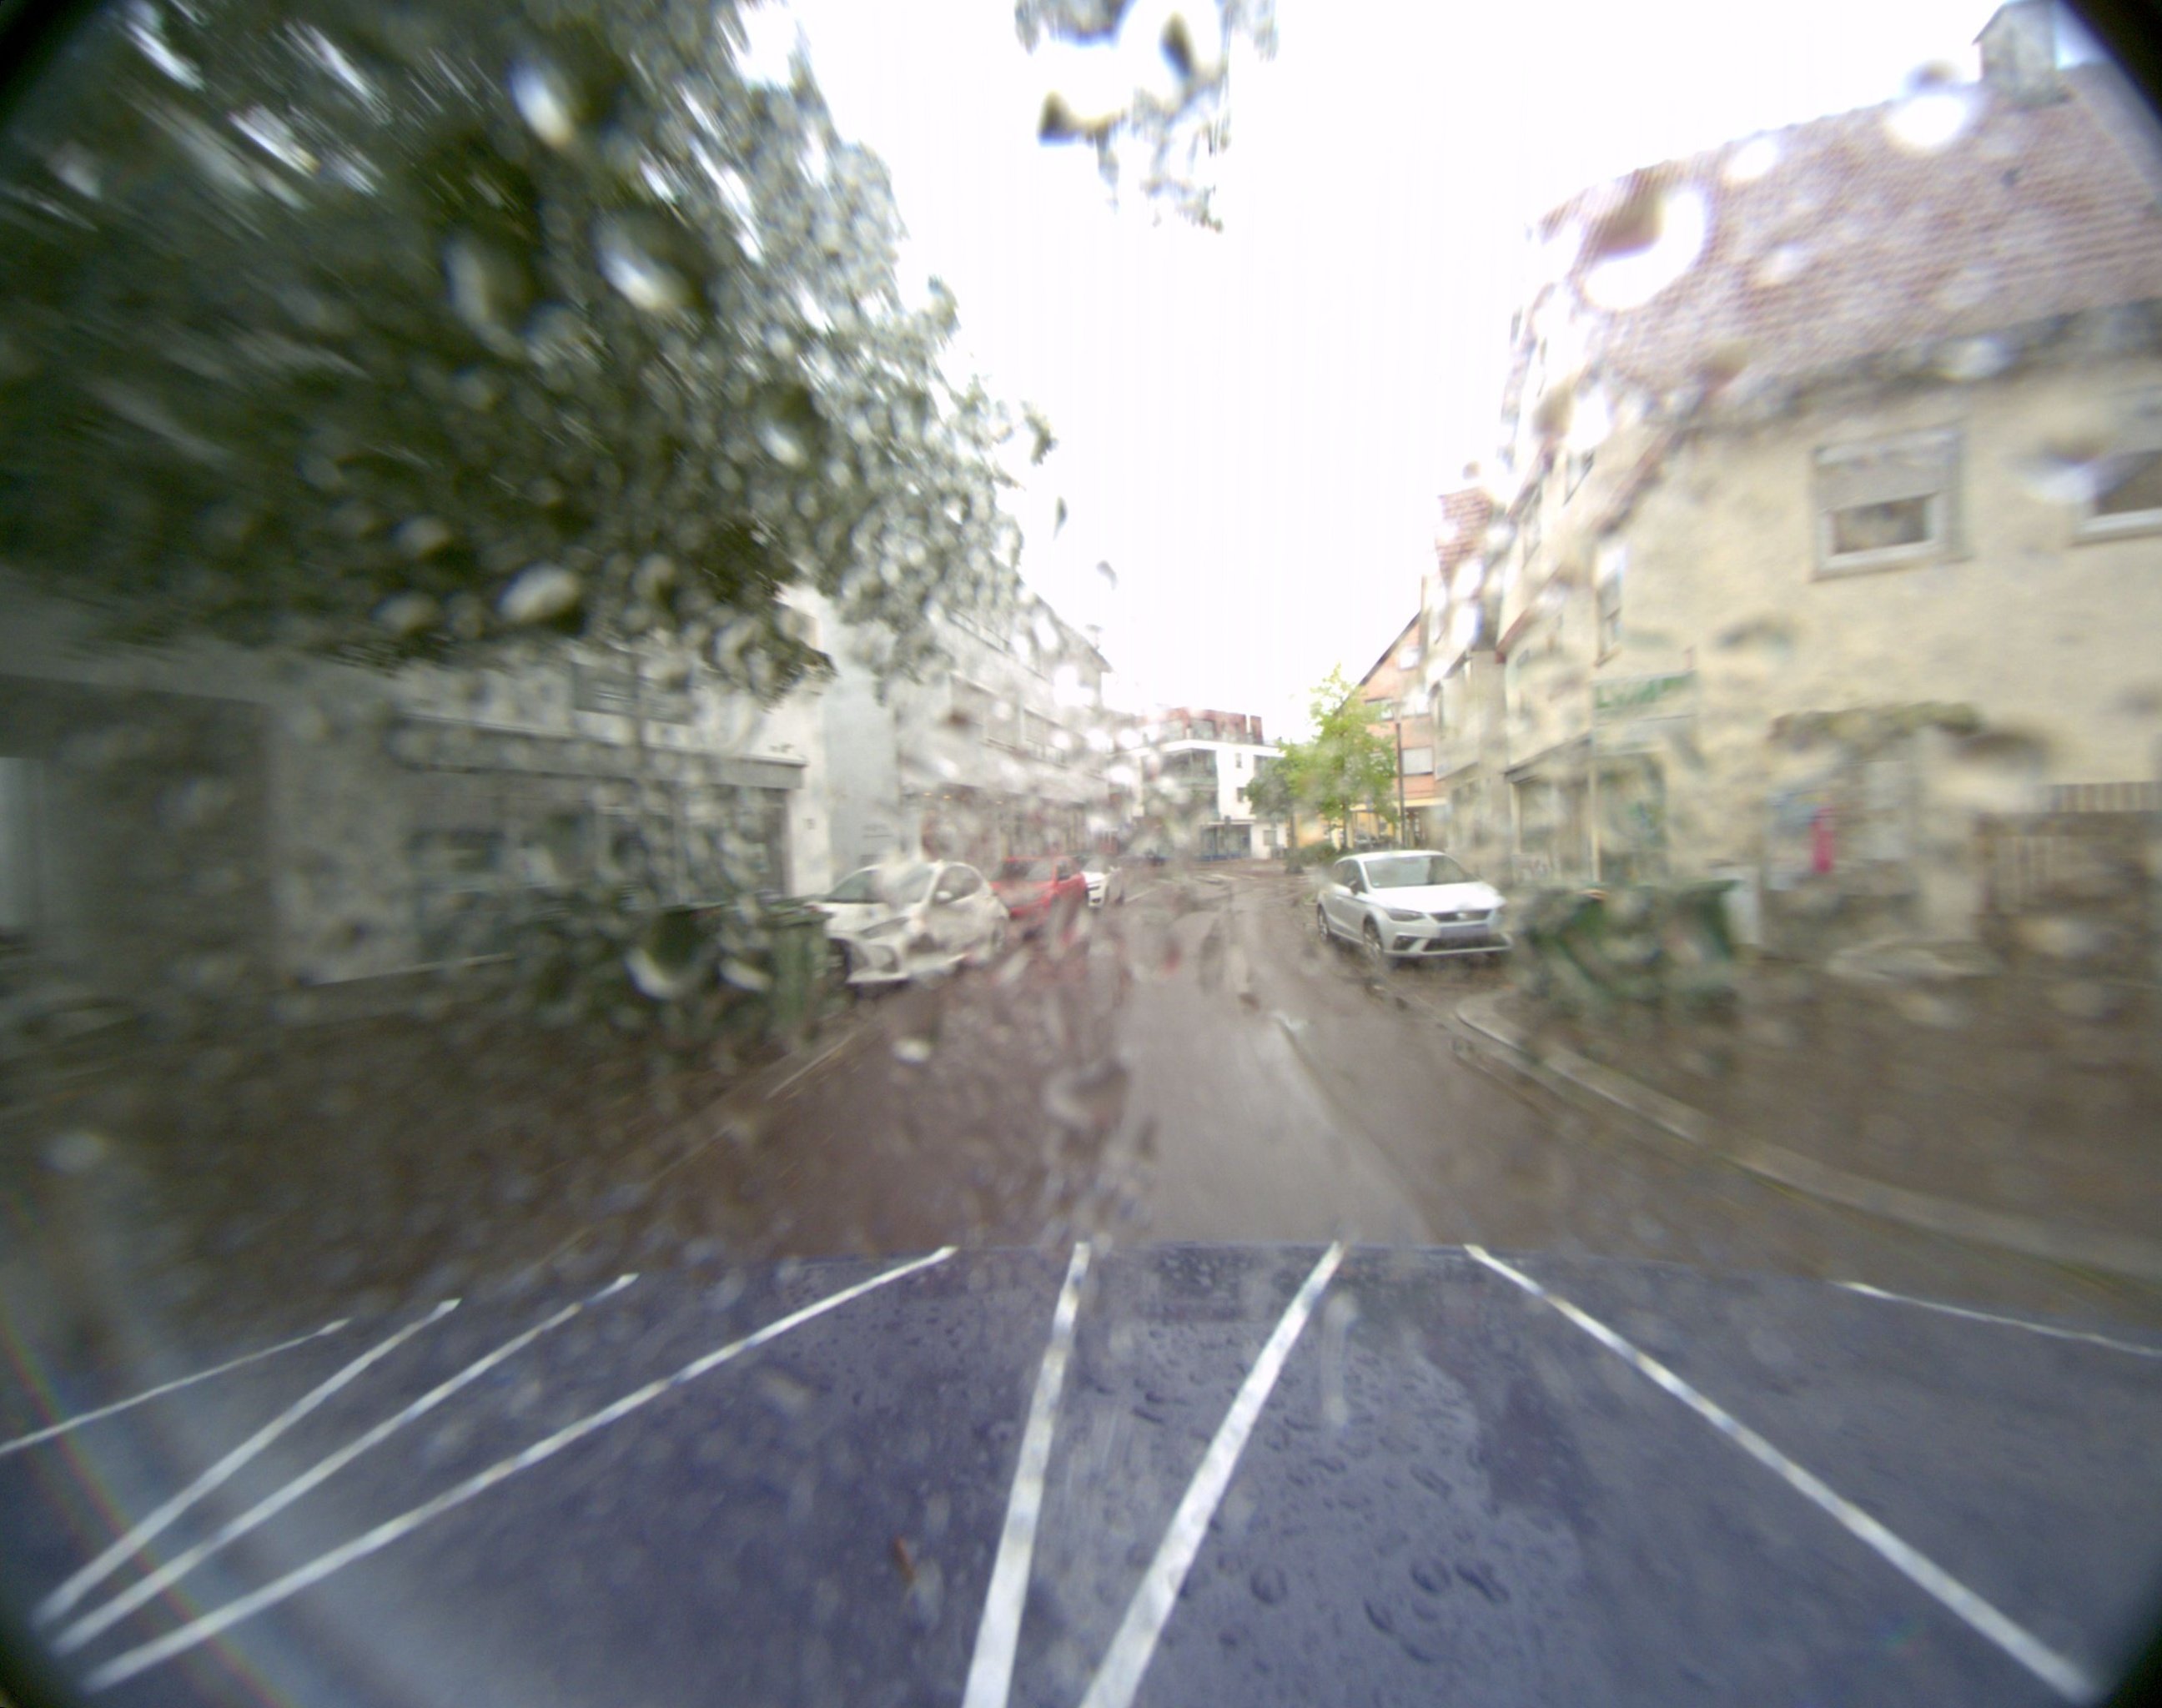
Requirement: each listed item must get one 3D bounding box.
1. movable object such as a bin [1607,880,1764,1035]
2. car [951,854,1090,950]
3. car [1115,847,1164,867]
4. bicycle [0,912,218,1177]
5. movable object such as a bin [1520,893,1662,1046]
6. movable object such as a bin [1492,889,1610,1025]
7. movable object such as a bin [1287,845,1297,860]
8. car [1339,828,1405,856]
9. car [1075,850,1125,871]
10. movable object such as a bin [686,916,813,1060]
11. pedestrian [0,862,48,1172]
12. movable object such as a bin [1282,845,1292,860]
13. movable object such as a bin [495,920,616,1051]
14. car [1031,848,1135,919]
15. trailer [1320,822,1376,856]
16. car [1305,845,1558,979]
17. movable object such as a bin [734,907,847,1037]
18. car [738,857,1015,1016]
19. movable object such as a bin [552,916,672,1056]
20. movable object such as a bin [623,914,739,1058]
[{"bbox_3d":[4.930,0.824,6.245,0.701,1.115,0.719,-5,2,11],"label":"movable object such as a bin"},{"bbox_3d":[-1.063,0.862,15.434,1.791,1.460,3.951,-3,2,10],"label":"car"},{"bbox_3d":[4.542,0.219,59.345,1.683,1.428,3.576,-6,3,-42],"label":"car"},{"bbox_3d":[-6.456,1.099,4.068,0.925,1.343,2.219,0,2,28],"label":"bicycle"},{"bbox_3d":[4.146,0.919,6.233,0.701,1.137,0.719,-3,0,11],"label":"movable object such as a bin"},{"bbox_3d":[4.301,0.927,7.004,0.683,1.129,0.719,-3,1,12],"label":"movable object such as a bin"},{"bbox_3d":[18.511,-0.139,66.666,0.524,1.226,0.630,-6,3,-41],"label":"movable object such as a bin"},{"bbox_3d":[21.091,-0.847,55.074,3.990,1.661,1.840,-6,-2,39],"label":"car"},{"bbox_3d":[1.559,0.568,63.069,1.806,1.546,3.910,-6,3,-43],"label":"car"},{"bbox_3d":[-2.805,1.119,6.488,0.727,1.077,0.604,-3,3,3],"label":"movable object such as a bin"},{"bbox_3d":[-6.459,0.909,4.080,0.911,1.689,0.863,0,3,28],"label":"pedestrian"},{"bbox_3d":[17.925,-0.108,66.109,0.524,1.226,0.630,-6,3,-41],"label":"movable object such as a bin"},{"bbox_3d":[-4.844,1.187,7.038,0.539,1.077,0.728,-1,1,10],"label":"movable object such as a bin"},{"bbox_3d":[0.181,0.715,20.542,1.790,1.590,4.443,-3,0,13],"label":"car"},{"bbox_3d":[18.649,-1.045,53.133,3.086,2.075,1.840,-6,-2,39],"label":"trailer"},{"bbox_3d":[4.624,0.688,10.768,1.853,1.443,4.074,-3,-1,4],"label":"car"},{"bbox_3d":[-2.718,1.089,7.162,0.727,1.087,0.610,-3,3,3],"label":"movable object such as a bin"},{"bbox_3d":[-2.359,0.885,9.946,1.790,1.546,3.952,-2,1,13],"label":"car"},{"bbox_3d":[-4.181,1.147,6.810,0.539,1.124,0.728,-1,1,10],"label":"movable object such as a bin"},{"bbox_3d":[-3.497,1.125,6.690,0.539,1.136,0.728,-1,1,10],"label":"movable object such as a bin"}]
